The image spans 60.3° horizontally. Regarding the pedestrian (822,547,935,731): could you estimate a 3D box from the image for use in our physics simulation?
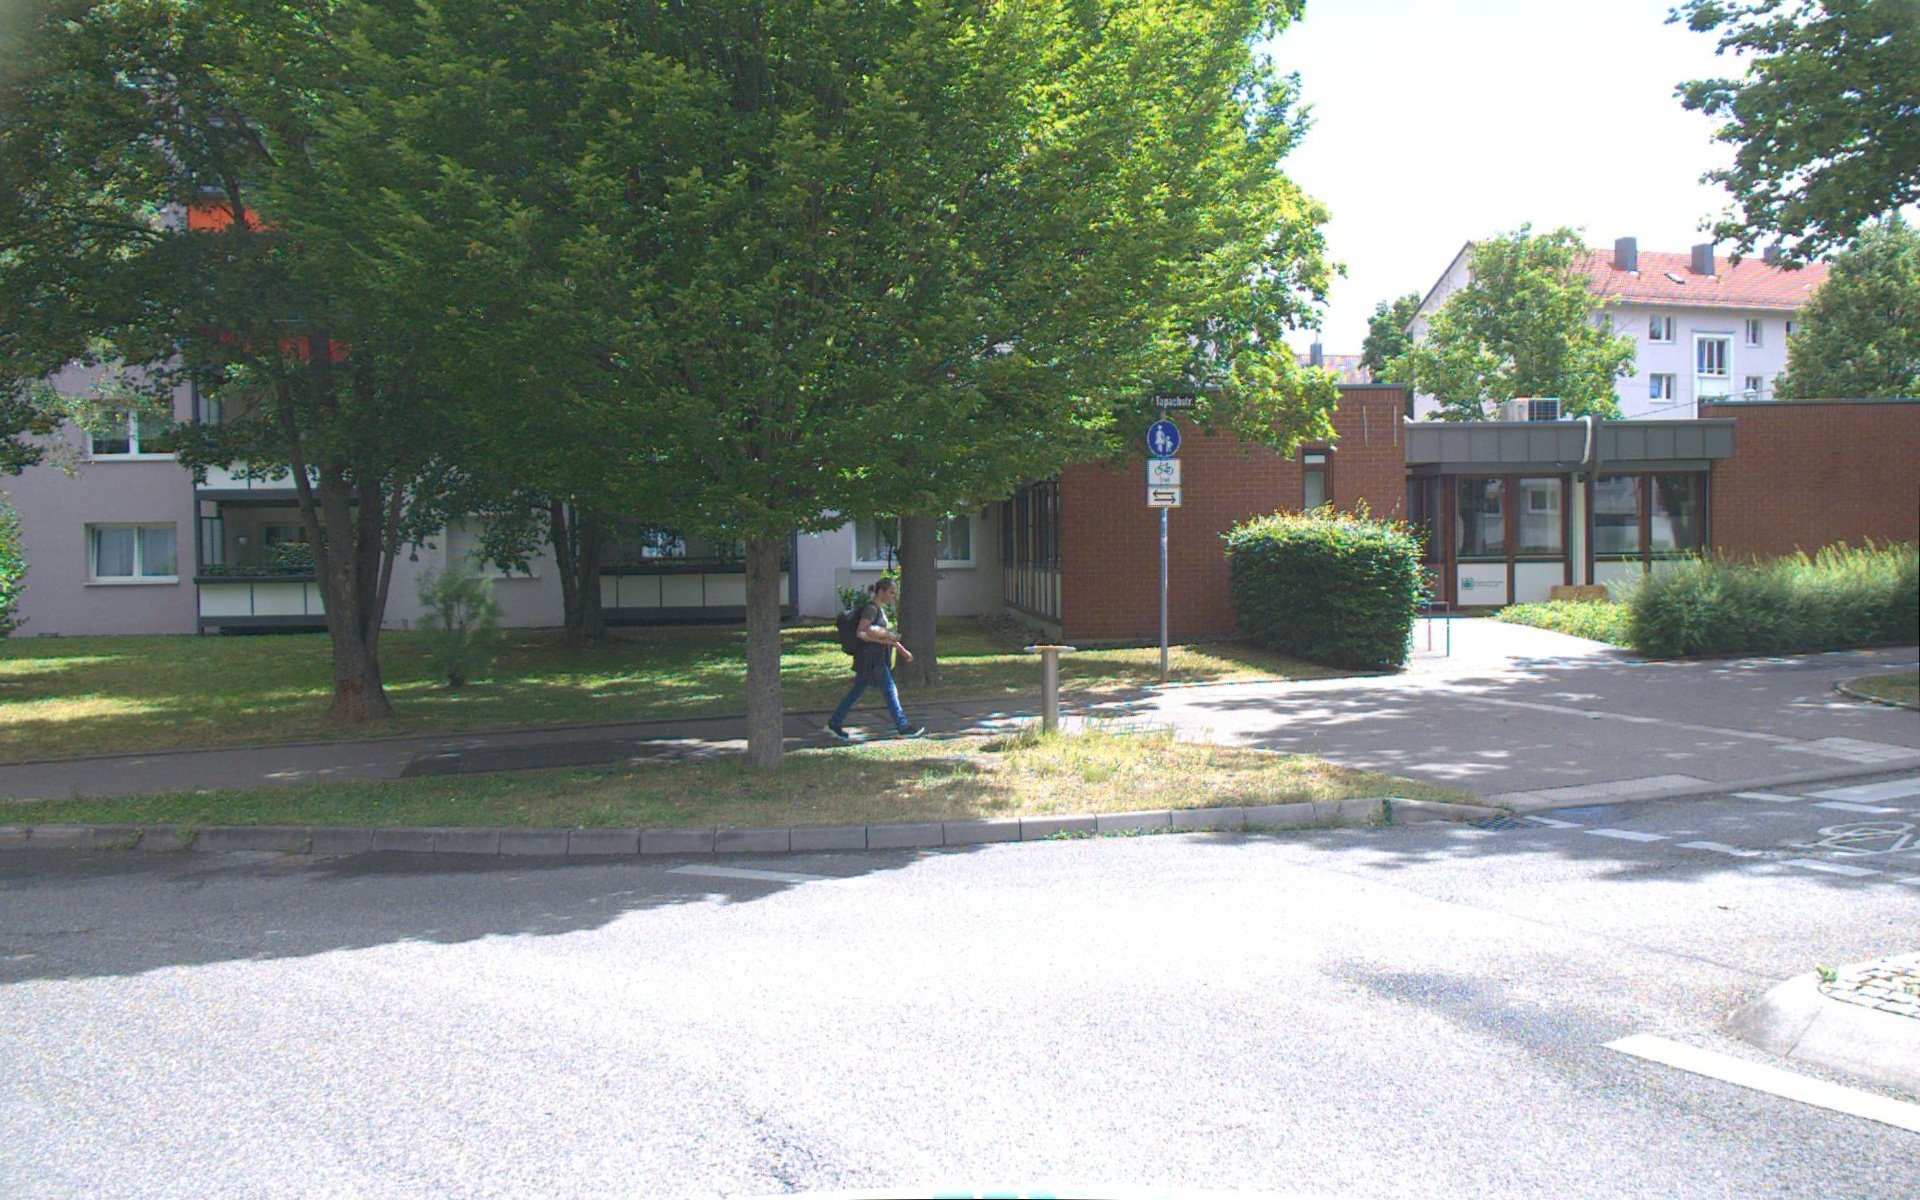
[{"bbox_3d":[-0.764,0.342,15.391,0.824,1.606,0.718,-5,2,-13],"label":"pedestrian"}]
